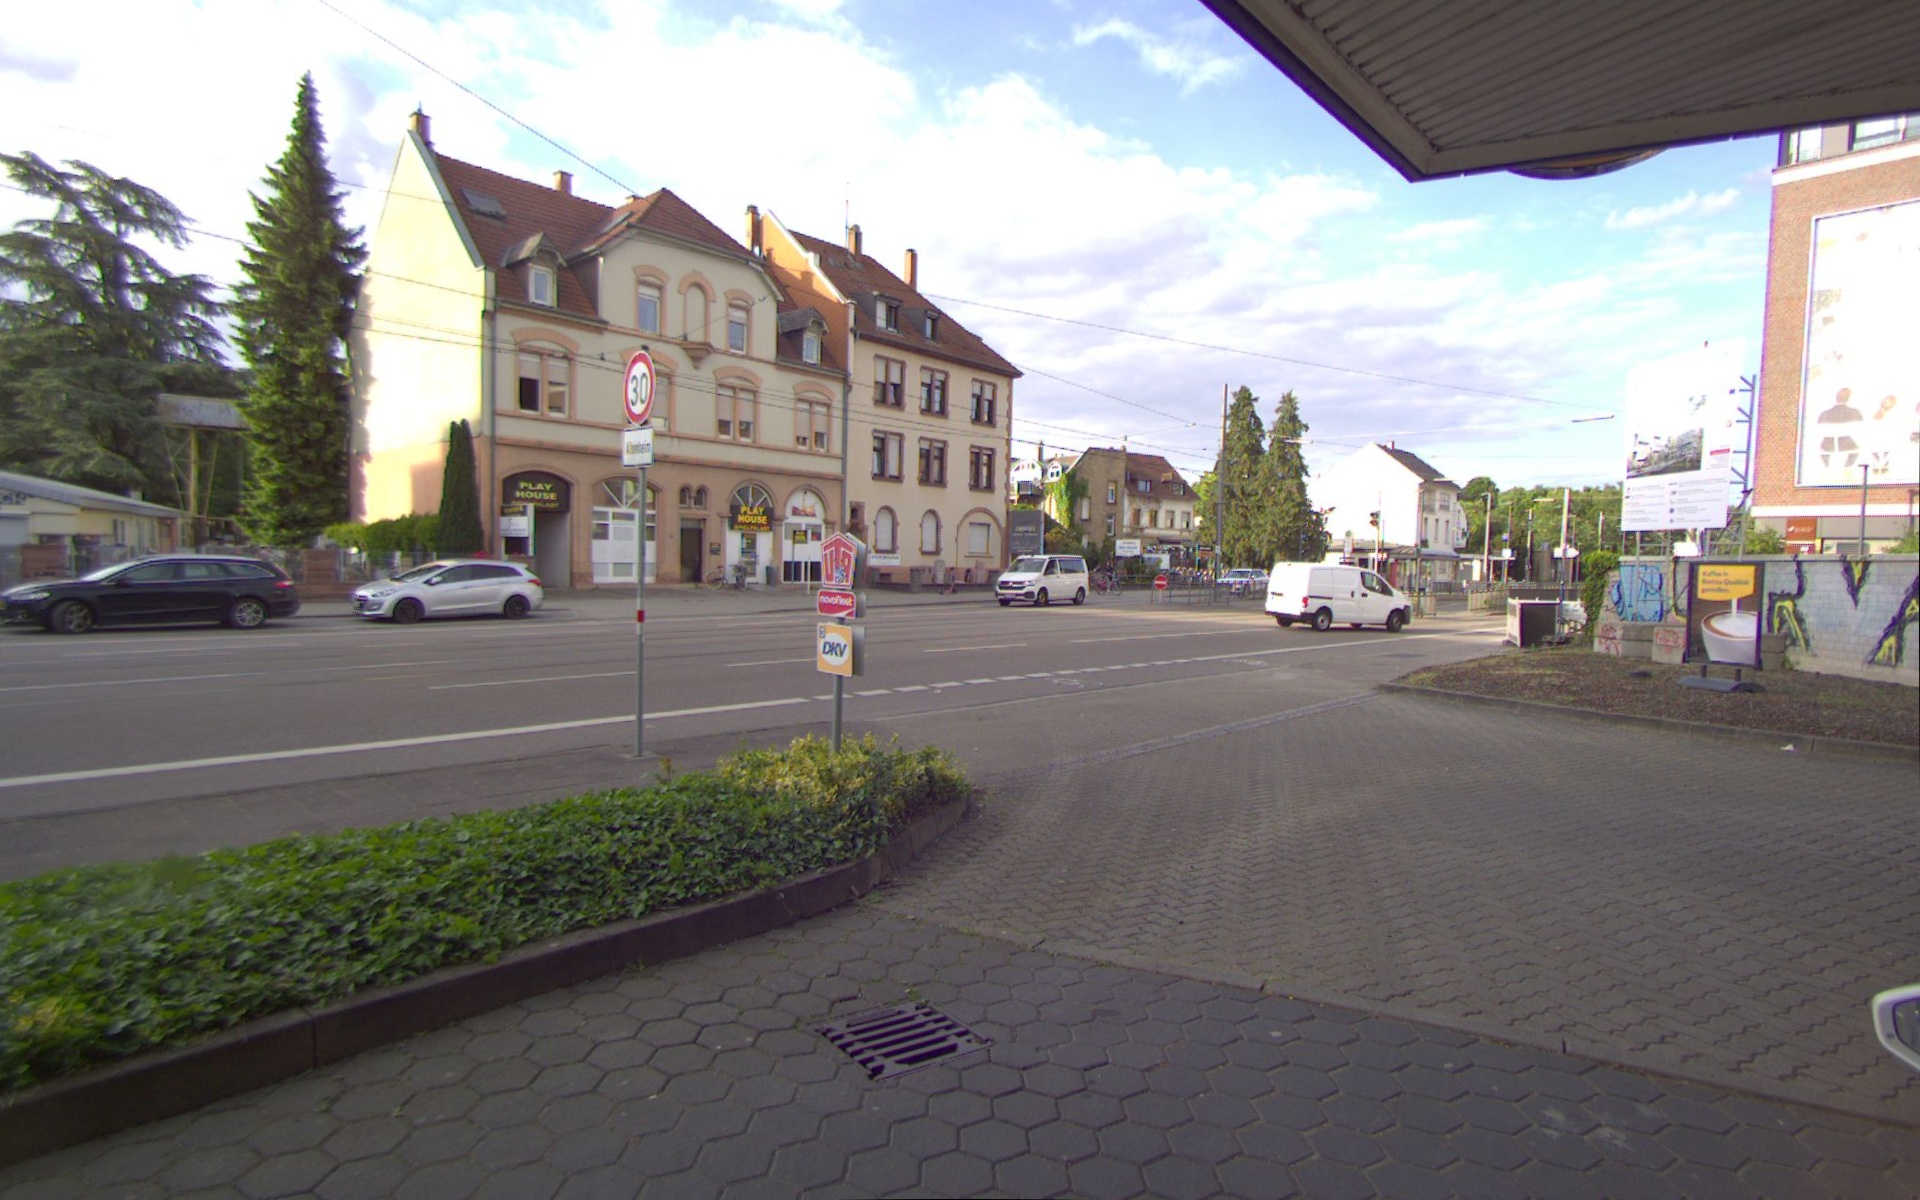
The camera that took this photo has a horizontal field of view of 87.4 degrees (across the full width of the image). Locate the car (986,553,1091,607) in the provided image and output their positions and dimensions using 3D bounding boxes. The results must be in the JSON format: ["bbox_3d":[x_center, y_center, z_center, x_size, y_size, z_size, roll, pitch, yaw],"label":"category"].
[{"bbox_3d":[3.176,-0.810,39.713,1.967,1.995,4.873,2,3,35],"label":"car"}]

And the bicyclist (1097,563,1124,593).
[{"bbox_3d":[7.949,-1.179,53.042,1.079,1.512,0.785,2,4,-20],"label":"bicyclist"}]

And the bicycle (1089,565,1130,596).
[{"bbox_3d":[7.896,-1.045,53.032,1.962,1.512,0.785,2,4,-21],"label":"bicycle"}]

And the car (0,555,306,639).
[{"bbox_3d":[-16.577,-0.141,20.725,1.970,1.516,4.801,3,3,40],"label":"car"}]

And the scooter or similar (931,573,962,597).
[{"bbox_3d":[-0.605,-0.686,45.129,0.488,1.015,1.592,5,5,39],"label":"scooter or similar"}]

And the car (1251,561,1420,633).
[{"bbox_3d":[10.858,-0.092,29.075,4.347,1.915,1.958,1,2,-22],"label":"car"}]

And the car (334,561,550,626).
[{"bbox_3d":[-13.008,-0.239,25.457,1.970,1.495,4.467,3,3,40],"label":"car"}]

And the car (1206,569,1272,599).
[{"bbox_3d":[15.353,-0.899,55.167,1.813,1.598,4.359,2,2,40],"label":"car"}]

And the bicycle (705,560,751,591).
[{"bbox_3d":[-9.151,-0.949,39.702,0.508,1.189,1.809,4,2,40],"label":"bicycle"}]
